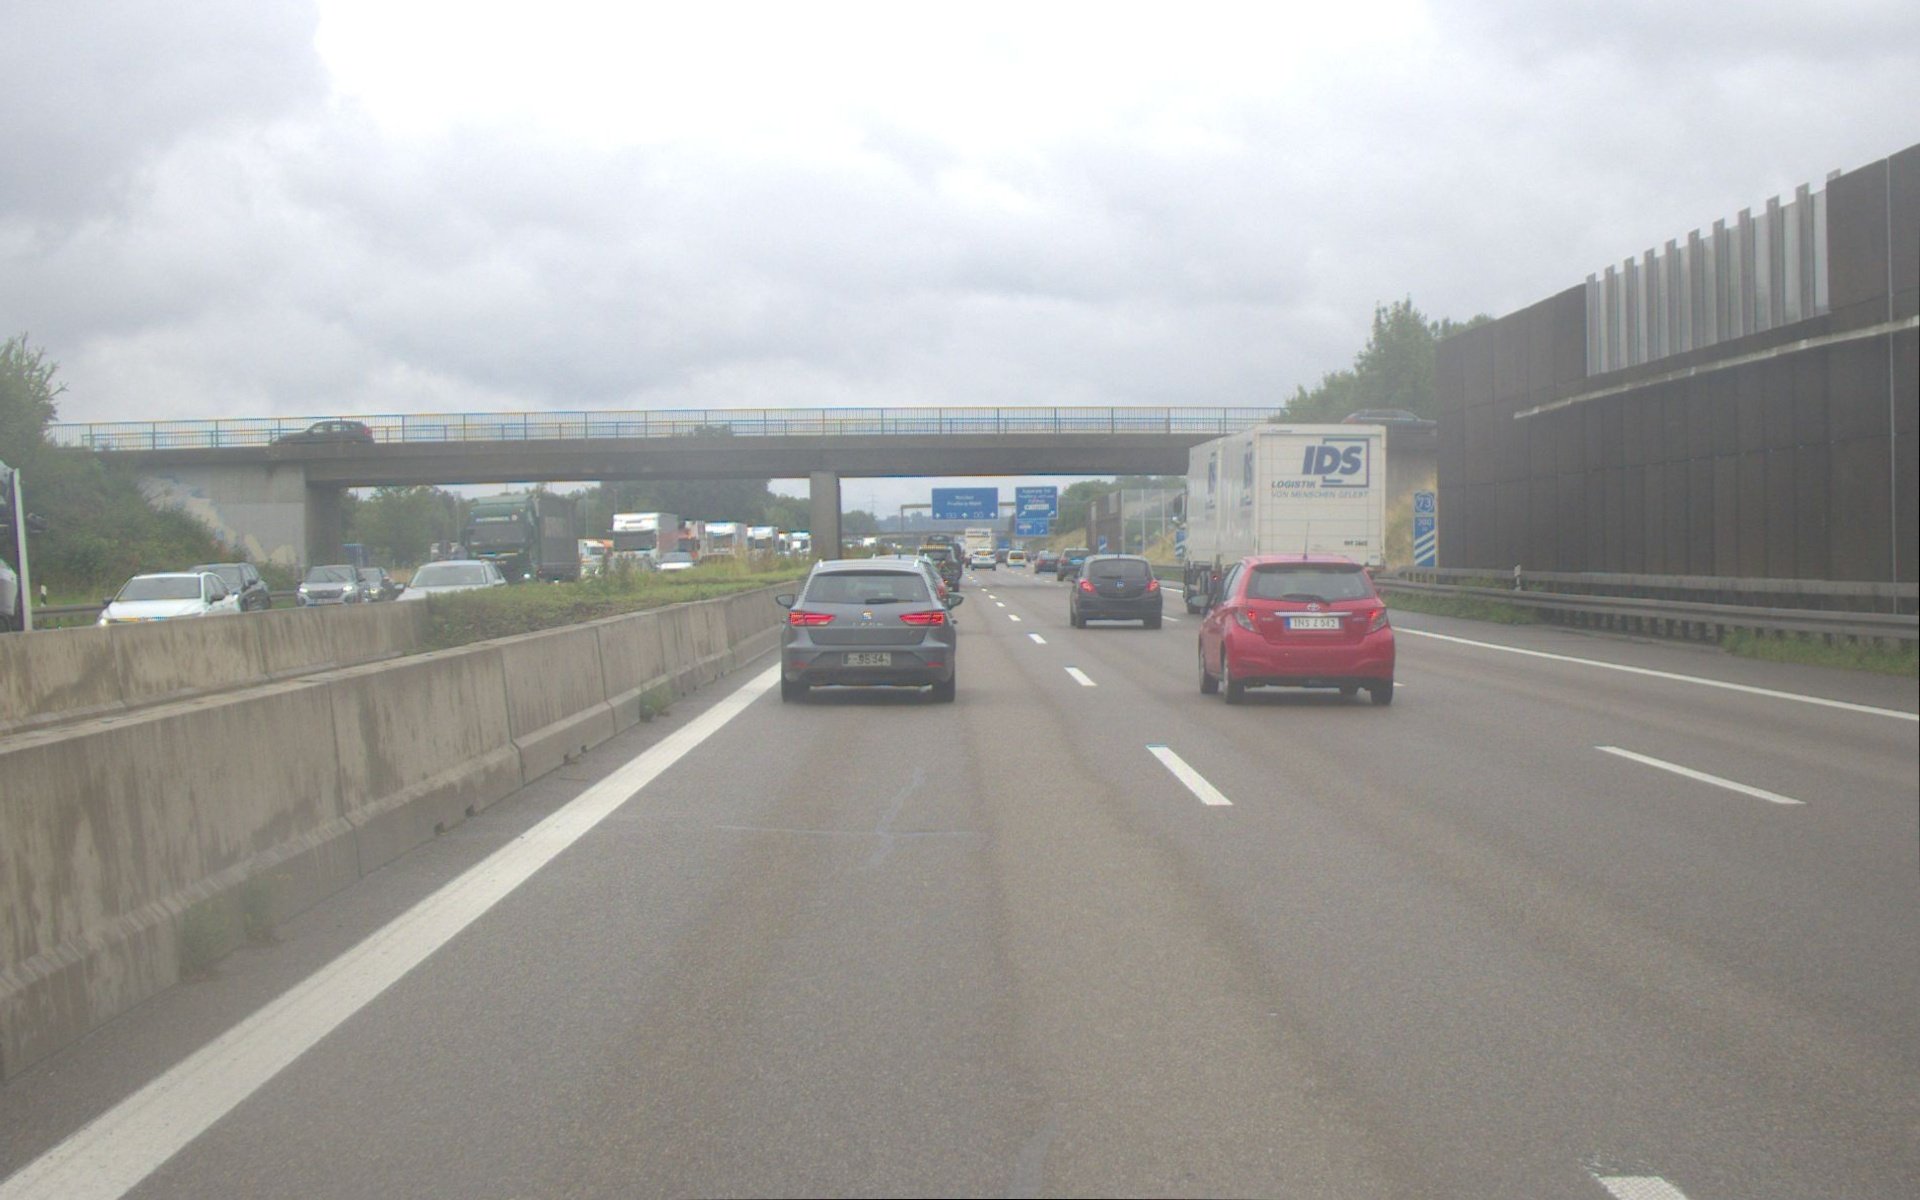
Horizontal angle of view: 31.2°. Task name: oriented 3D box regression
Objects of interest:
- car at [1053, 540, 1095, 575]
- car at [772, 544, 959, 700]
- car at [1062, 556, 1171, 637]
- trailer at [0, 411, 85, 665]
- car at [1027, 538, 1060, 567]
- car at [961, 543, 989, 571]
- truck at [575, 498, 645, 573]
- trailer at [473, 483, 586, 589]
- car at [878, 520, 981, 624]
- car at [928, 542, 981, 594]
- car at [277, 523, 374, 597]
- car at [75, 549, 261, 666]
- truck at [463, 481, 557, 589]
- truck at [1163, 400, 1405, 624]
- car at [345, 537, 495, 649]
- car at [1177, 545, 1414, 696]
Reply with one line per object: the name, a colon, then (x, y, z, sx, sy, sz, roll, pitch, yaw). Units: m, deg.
car: (5.614, -2.108, 169.910, 1.845, 1.681, 4.000, 1, 0, -1)
car: (-0.941, 0.193, 35.074, 1.768, 1.462, 4.000, 1, 0, -1)
car: (3.093, -0.099, 68.709, 1.921, 1.516, 4.622, 0, 1, 0)
trailer: (-17.515, -1.035, 54.947, 2.998, 4.227, 15.708, 1, 0, 0)
car: (5.435, -3.102, 223.474, 1.993, 1.806, 4.228, -2, 1, 0)
car: (1.112, -3.132, 251.336, 1.993, 2.007, 4.242, 1, 0, 0)
truck: (-19.466, -3.571, 191.417, 3.272, 4.031, 5.293, 1, 0, 0)
trailer: (-17.454, -2.539, 140.319, 2.757, 4.036, 14.519, 1, 0, 0)
car: (-0.566, -0.532, 63.724, 1.826, 1.844, 4.000, -1, 1, 0)
car: (-0.207, -1.153, 123.193, 1.704, 1.790, 3.855, -2, 1, -2)
car: (-18.063, -1.149, 98.032, 1.993, 2.007, 4.000, -2, 1, 0)
car: (-13.405, 0.102, 58.472, 1.993, 1.873, 5.032, 1, 0, 0)
truck: (-17.441, -2.483, 133.496, 2.757, 4.036, 6.255, 1, 0, 0)
truck: (6.834, -1.779, 76.119, 3.283, 4.280, 19.034, 1, 0, -1)
car: (-9.554, -0.144, 61.119, 1.927, 1.873, 4.590, 1, 0, 0)
car: (3.400, 0.162, 35.690, 1.891, 1.442, 4.685, 0, 1, -1)
